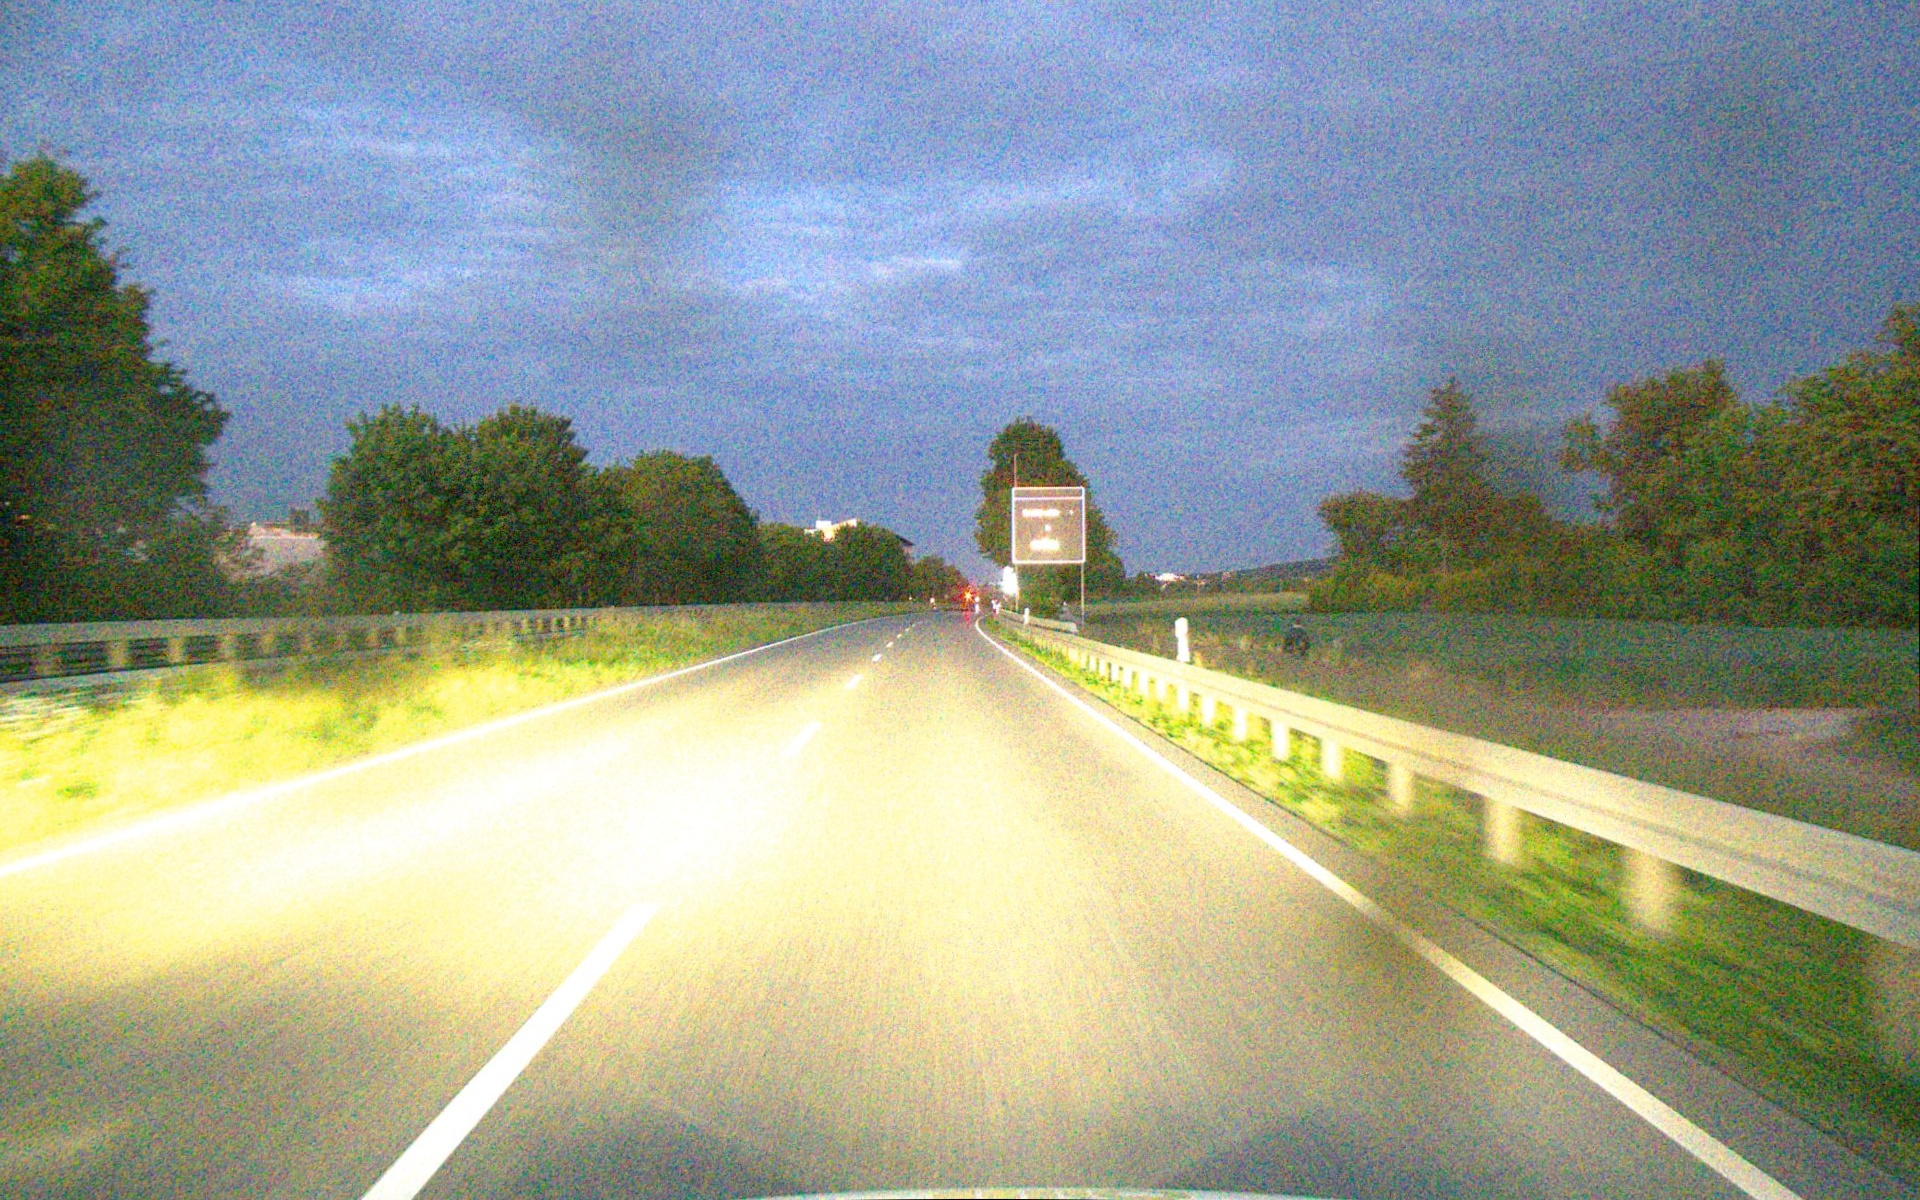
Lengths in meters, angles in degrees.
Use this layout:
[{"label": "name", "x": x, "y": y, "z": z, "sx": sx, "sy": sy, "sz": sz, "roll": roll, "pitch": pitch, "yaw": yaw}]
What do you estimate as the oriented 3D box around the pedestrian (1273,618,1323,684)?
[{"label": "pedestrian", "x": 8.810, "y": 1.310, "z": 43.116, "sx": 1.040, "sy": 1.672, "sz": 1.118, "roll": 1, "pitch": 0, "yaw": -1}]
